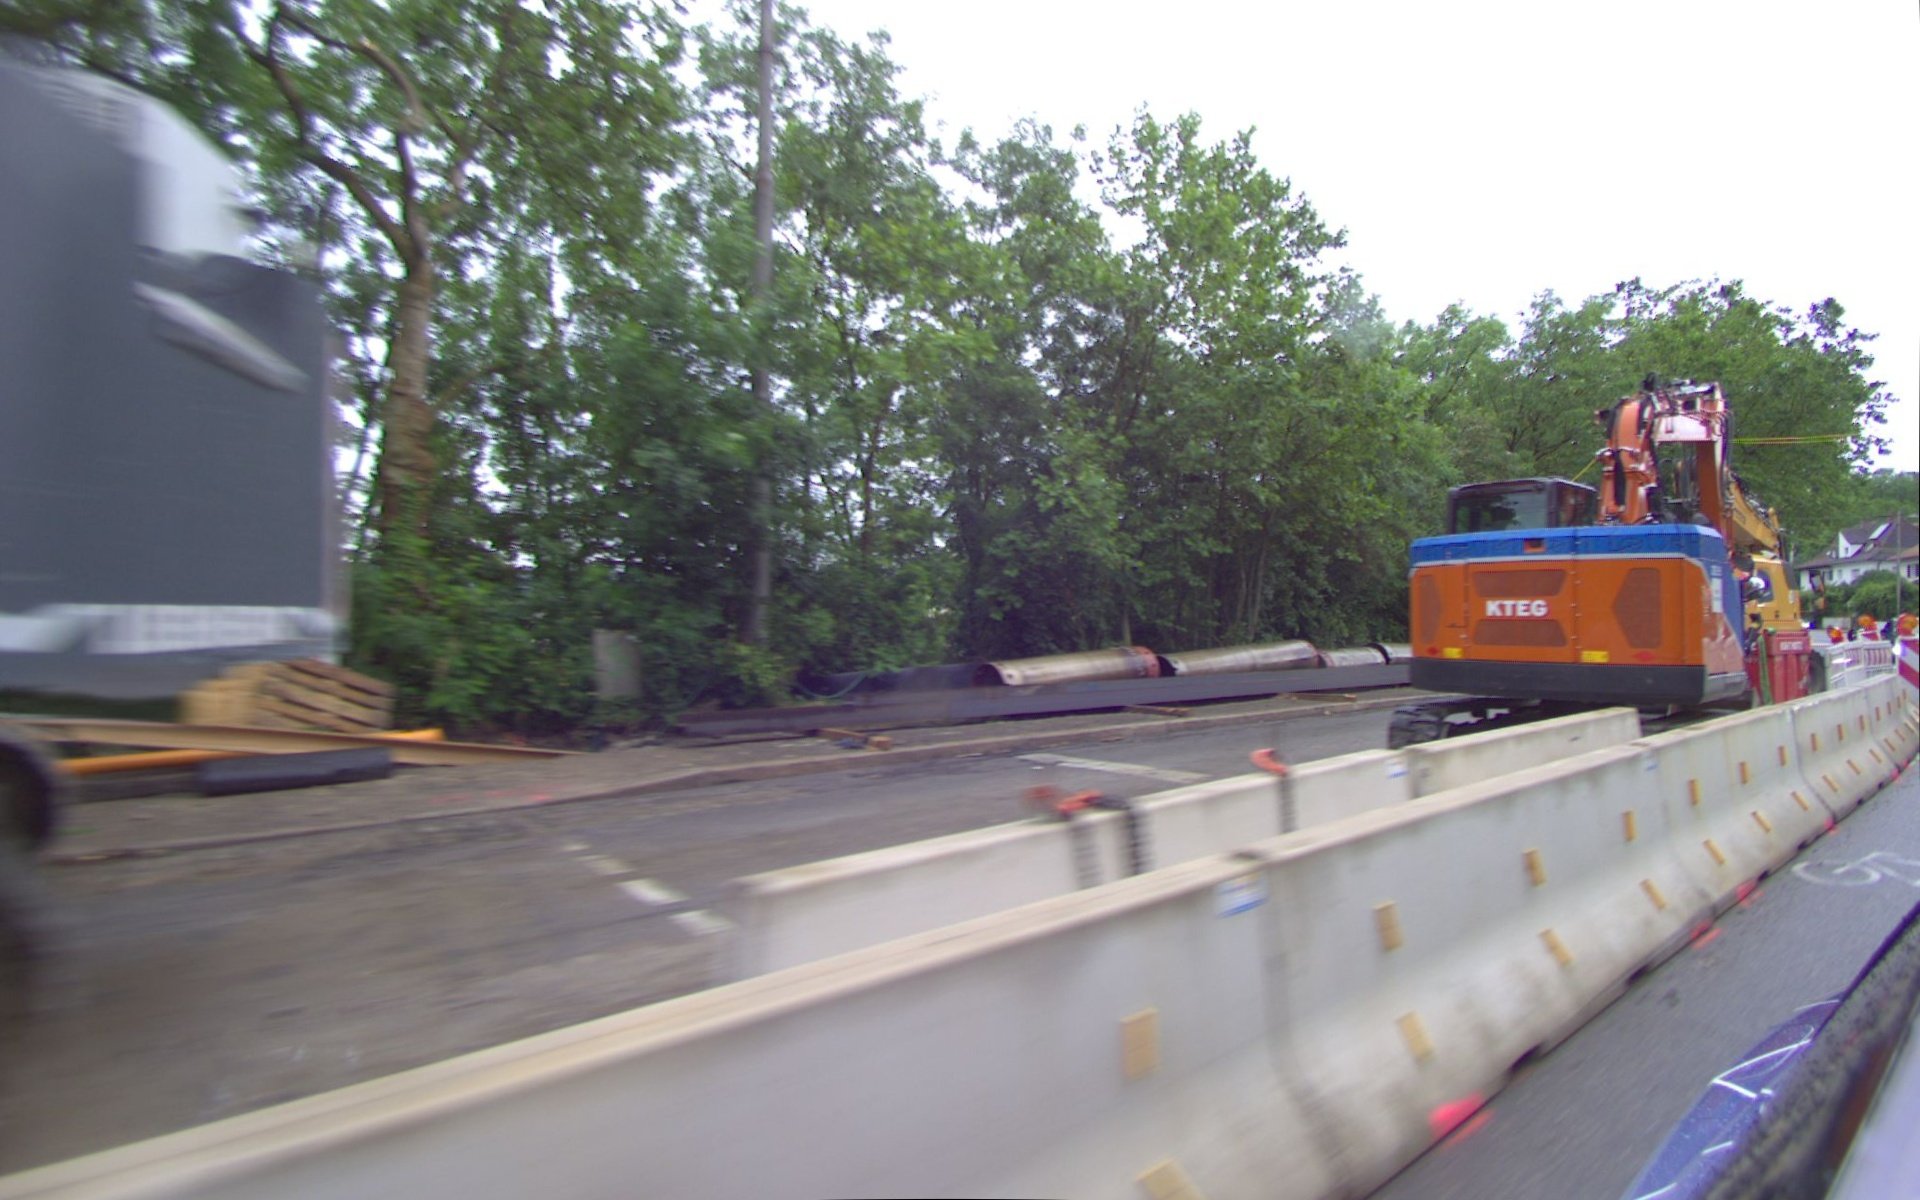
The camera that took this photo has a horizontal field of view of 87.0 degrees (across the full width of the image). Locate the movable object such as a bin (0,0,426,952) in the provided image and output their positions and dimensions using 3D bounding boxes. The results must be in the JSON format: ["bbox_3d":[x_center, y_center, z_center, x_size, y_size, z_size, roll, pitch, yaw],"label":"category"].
[{"bbox_3d":[-5.681,-1.849,2.467,7.013,5.130,3.702,0,0,-12],"label":"movable object such as a bin"}]

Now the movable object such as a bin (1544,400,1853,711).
[{"bbox_3d":[11.882,-0.570,16.238,4.404,4.224,2.886,2,-1,-38],"label":"movable object such as a bin"}]

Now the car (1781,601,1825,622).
[{"bbox_3d":[59.259,0.804,71.119,3.563,1.353,1.823,0,-1,-41],"label":"car"}]

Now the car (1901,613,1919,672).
[{"bbox_3d":[28.312,1.194,29.033,3.585,1.594,1.539,0,-1,-41],"label":"car"}]

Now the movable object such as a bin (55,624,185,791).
[{"bbox_3d":[-7.216,0.875,8.709,0.828,1.325,0.756,0,-2,-41],"label":"movable object such as a bin"}]

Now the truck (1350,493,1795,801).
[{"bbox_3d":[5.502,0.303,9.058,3.246,2.134,2.555,0,1,-41],"label":"truck"}]
